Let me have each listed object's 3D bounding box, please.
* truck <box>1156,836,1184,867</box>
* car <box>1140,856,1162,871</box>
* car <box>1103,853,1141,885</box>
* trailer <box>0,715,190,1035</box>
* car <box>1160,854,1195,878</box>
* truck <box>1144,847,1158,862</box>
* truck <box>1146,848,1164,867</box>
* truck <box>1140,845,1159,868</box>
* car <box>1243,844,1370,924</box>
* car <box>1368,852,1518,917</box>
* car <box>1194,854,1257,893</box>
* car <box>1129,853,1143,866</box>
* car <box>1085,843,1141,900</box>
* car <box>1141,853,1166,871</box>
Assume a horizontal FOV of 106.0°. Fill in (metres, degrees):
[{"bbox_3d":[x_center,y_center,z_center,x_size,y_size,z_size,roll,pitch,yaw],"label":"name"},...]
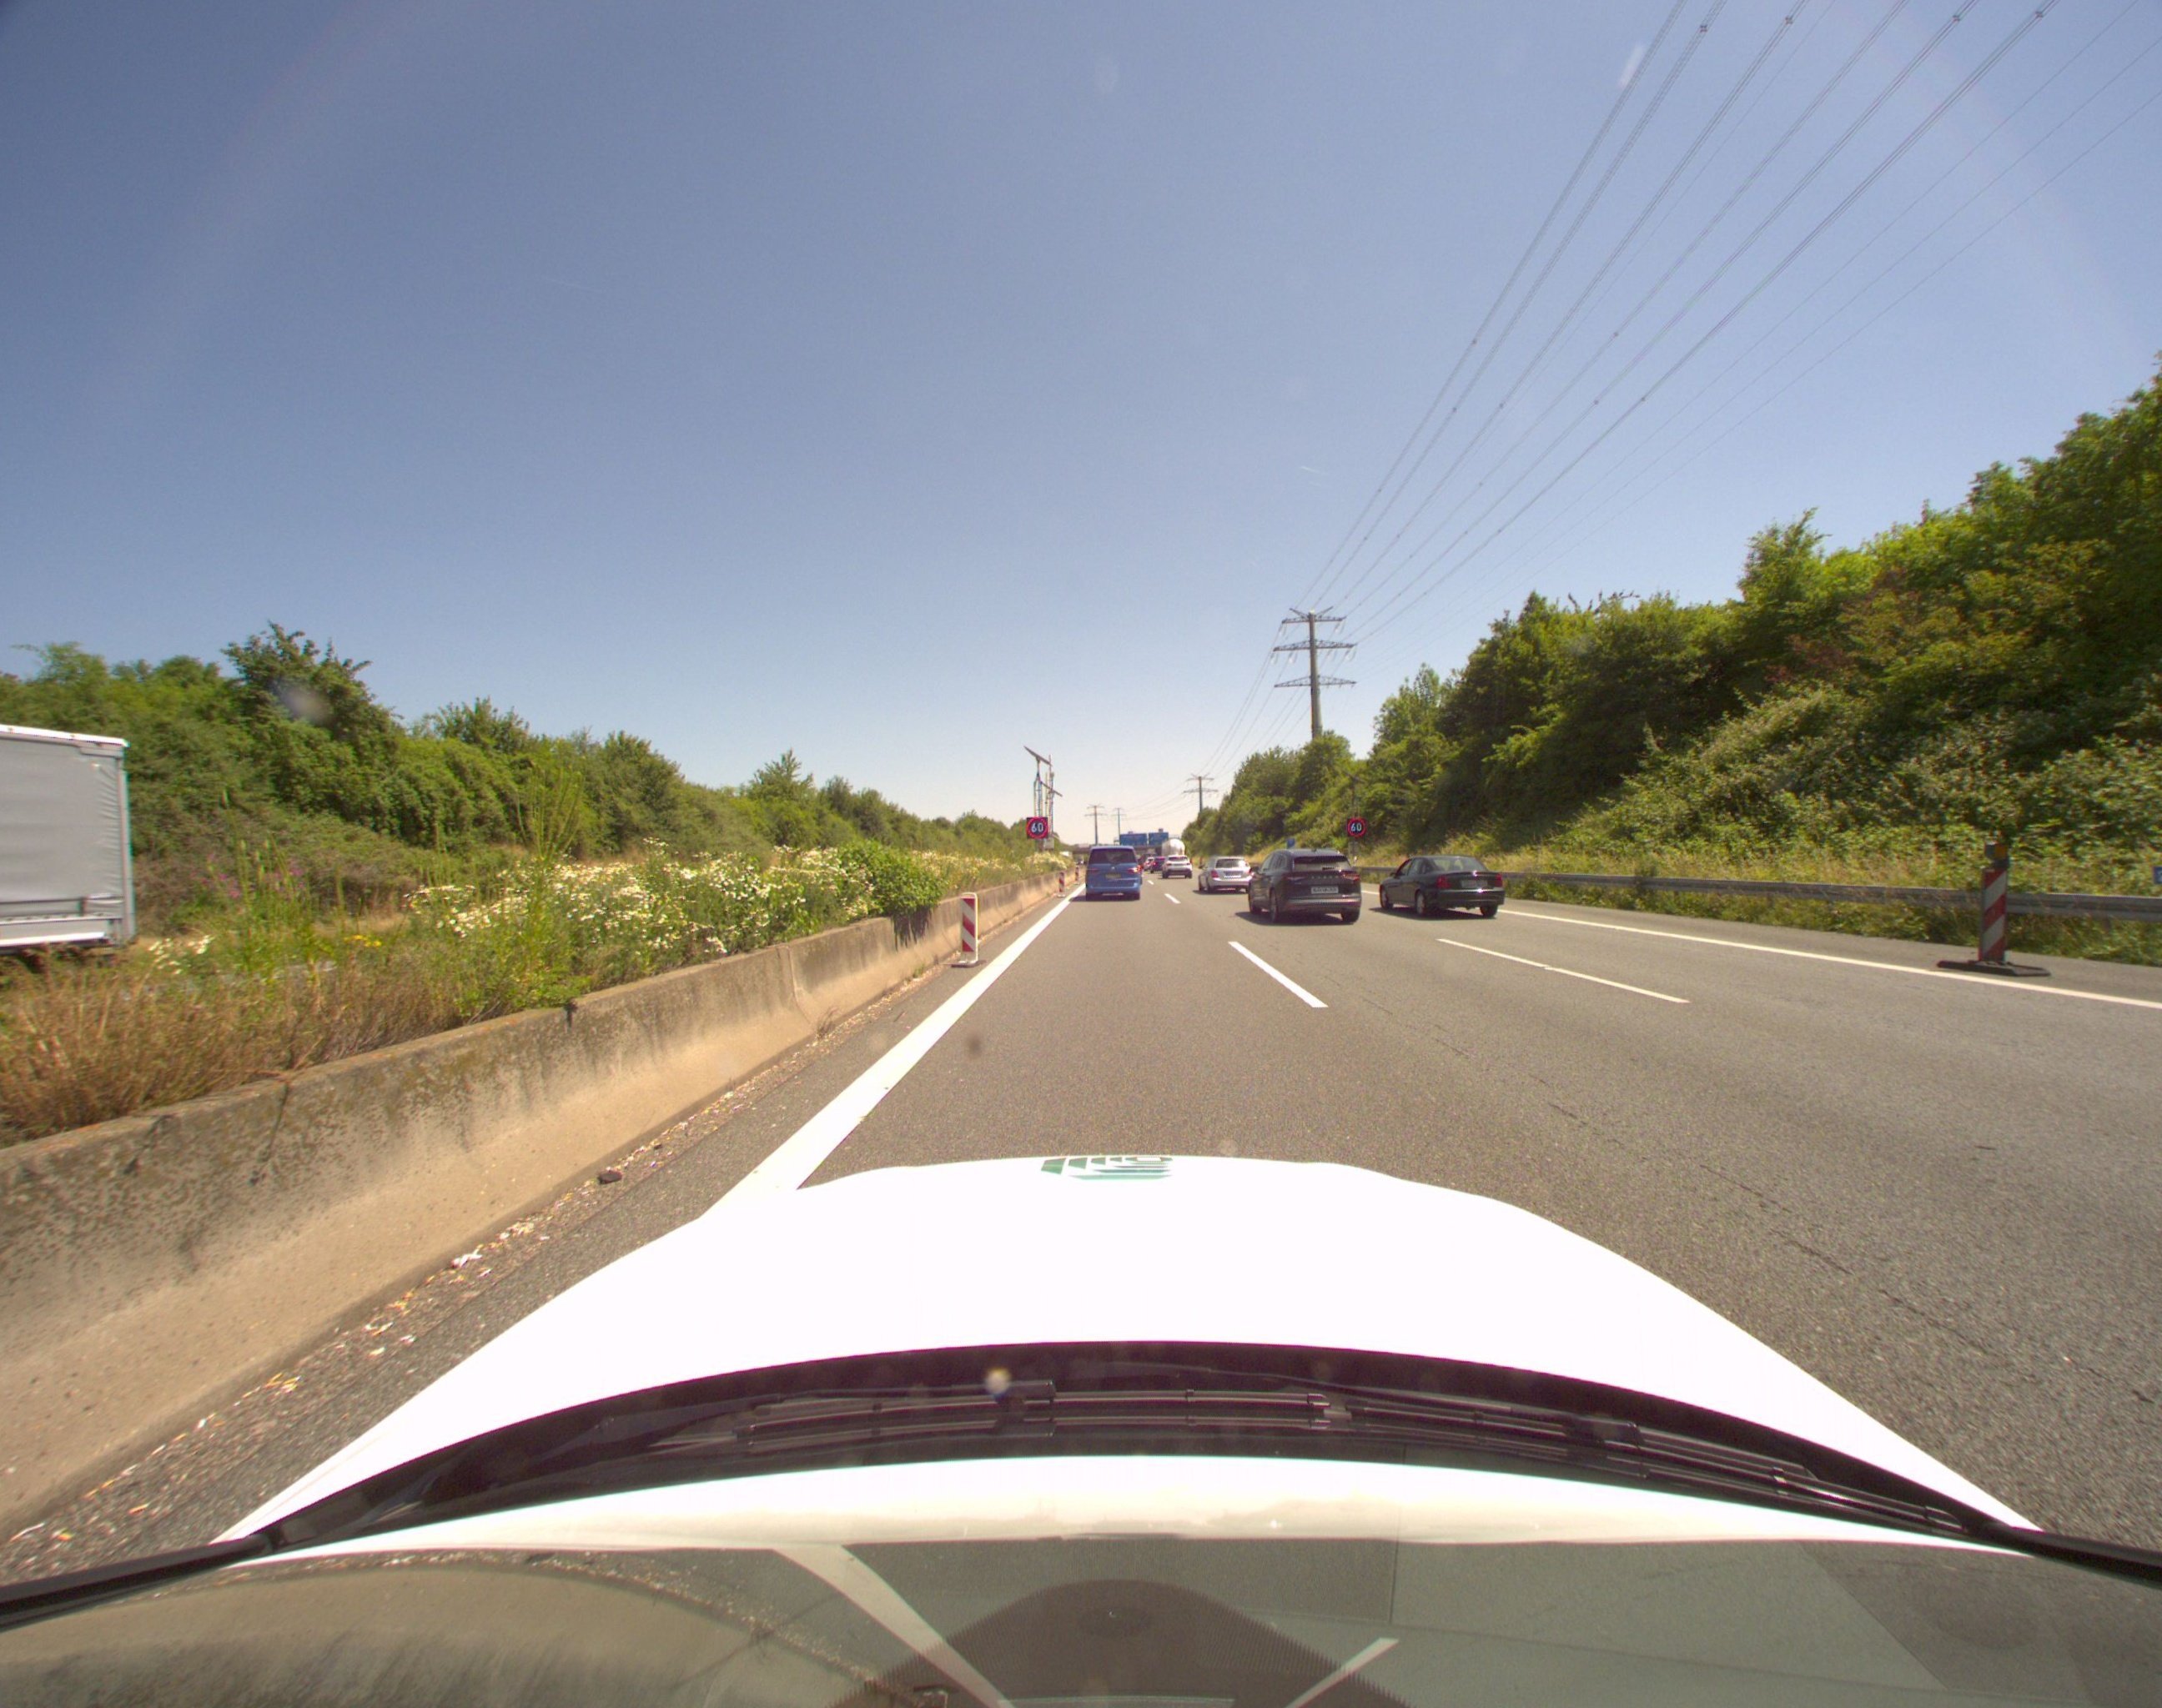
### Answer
[{"bbox_3d":[12.421,-0.308,115.201,2.635,4.072,16.445,0,0,1],"label":"truck"},{"bbox_3d":[7.268,0.959,84.855,1.902,1.516,4.383,0,0,0],"label":"car"},{"bbox_3d":[2.177,0.775,44.506,1.901,1.631,4.384,-1,0,1],"label":"car"},{"bbox_3d":[-15.760,0.369,5.663,3.005,4.166,14.028,-5,0,2],"label":"trailer"},{"bbox_3d":[6.355,0.766,54.234,1.902,1.508,3.921,0,0,0],"label":"car"},{"bbox_3d":[19.732,0.175,230.123,2.927,4.291,12.555,0,0,1],"label":"truck"},{"bbox_3d":[14.143,0.683,156.505,2.635,3.539,12.555,0,0,1],"label":"truck"},{"bbox_3d":[8.313,0.320,99.563,1.986,2.723,5.681,0,0,1],"label":"truck"},{"bbox_3d":[5.063,0.620,18.926,1.821,1.614,4.432,-1,0,1],"label":"car"},{"bbox_3d":[8.489,0.662,19.535,1.728,1.378,4.302,0,0,0],"label":"car"},{"bbox_3d":[5.725,0.733,32.735,1.815,1.437,4.383,0,0,0],"label":"car"},{"bbox_3d":[8.586,0.801,126.611,1.986,2.014,4.001,0,0,1],"label":"car"},{"bbox_3d":[1.092,0.588,29.479,1.865,1.879,4.383,0,0,0],"label":"car"},{"bbox_3d":[6.364,0.707,71.996,1.902,1.516,4.383,0,0,0],"label":"car"}]
